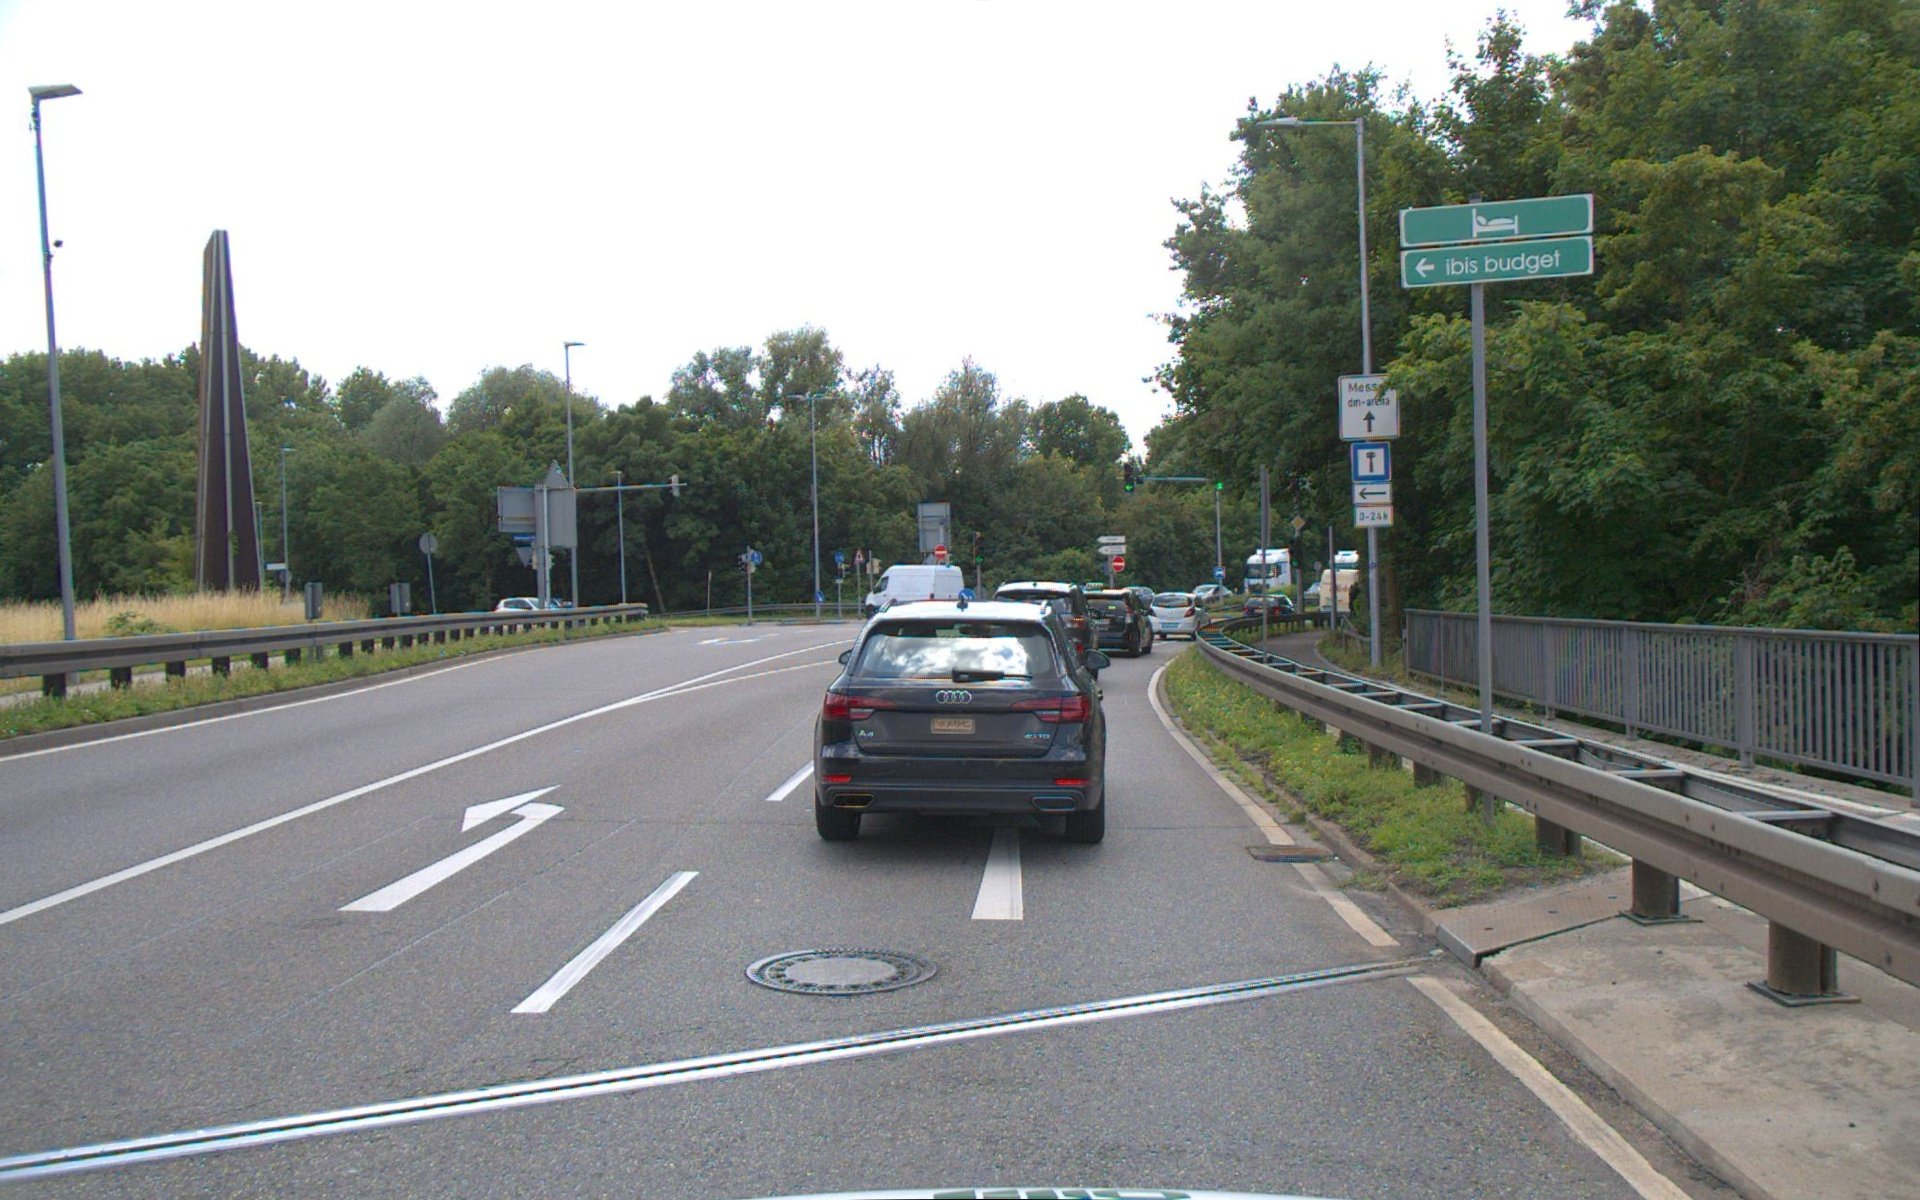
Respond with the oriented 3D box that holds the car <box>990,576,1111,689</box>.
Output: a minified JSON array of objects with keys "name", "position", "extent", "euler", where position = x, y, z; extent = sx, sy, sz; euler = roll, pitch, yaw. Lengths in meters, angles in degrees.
[{"name":"car","position":[1.451,0.472,26.745],"extent":[1.783,1.680,3.857],"euler":[1,0,3]}]

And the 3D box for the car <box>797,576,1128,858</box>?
[{"name":"car","position":[0.110,0.655,11.129],"extent":[1.790,1.518,4.208],"euler":[-1,0,3]}]

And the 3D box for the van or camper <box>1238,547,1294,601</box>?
[{"name":"van or camper","position":[21.978,-1.874,118.442],"extent":[2.843,3.678,8.134],"euler":[2,1,18]}]

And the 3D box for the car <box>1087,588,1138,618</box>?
[{"name":"car","position":[9.045,0.161,97.919],"extent":[1.741,1.747,3.997],"euler":[-1,0,25]}]

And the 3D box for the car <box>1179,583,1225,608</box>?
[{"name":"car","position":[15.830,-0.307,108.001],"extent":[1.497,1.527,3.294],"euler":[3,3,40]}]

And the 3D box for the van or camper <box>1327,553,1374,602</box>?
[{"name":"van or camper","position":[30.732,-1.803,130.045],"extent":[2.843,3.678,8.019],"euler":[2,1,18]}]

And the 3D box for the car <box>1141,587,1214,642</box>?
[{"name":"car","position":[7.030,0.431,53.248],"extent":[1.697,1.680,3.858],"euler":[0,0,18]}]

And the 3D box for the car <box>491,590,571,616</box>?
[{"name":"car","position":[-19.502,0.146,75.160],"extent":[3.517,1.136,1.589],"euler":[1,0,35]}]

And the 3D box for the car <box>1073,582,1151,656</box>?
[{"name":"car","position":[3.701,0.415,39.832],"extent":[1.696,1.680,3.859],"euler":[0,0,7]}]

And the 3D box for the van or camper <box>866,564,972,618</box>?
[{"name":"van or camper","position":[-1.925,-0.439,76.052],"extent":[2.257,2.381,5.170],"euler":[1,1,-38]}]

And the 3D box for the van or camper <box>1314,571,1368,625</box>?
[{"name":"van or camper","position":[19.396,-0.141,84.103],"extent":[1.953,2.635,4.089],"euler":[1,1,22]}]

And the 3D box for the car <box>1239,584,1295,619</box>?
[{"name":"car","position":[12.815,0.071,68.843],"extent":[1.648,1.422,3.679],"euler":[0,0,21]}]
